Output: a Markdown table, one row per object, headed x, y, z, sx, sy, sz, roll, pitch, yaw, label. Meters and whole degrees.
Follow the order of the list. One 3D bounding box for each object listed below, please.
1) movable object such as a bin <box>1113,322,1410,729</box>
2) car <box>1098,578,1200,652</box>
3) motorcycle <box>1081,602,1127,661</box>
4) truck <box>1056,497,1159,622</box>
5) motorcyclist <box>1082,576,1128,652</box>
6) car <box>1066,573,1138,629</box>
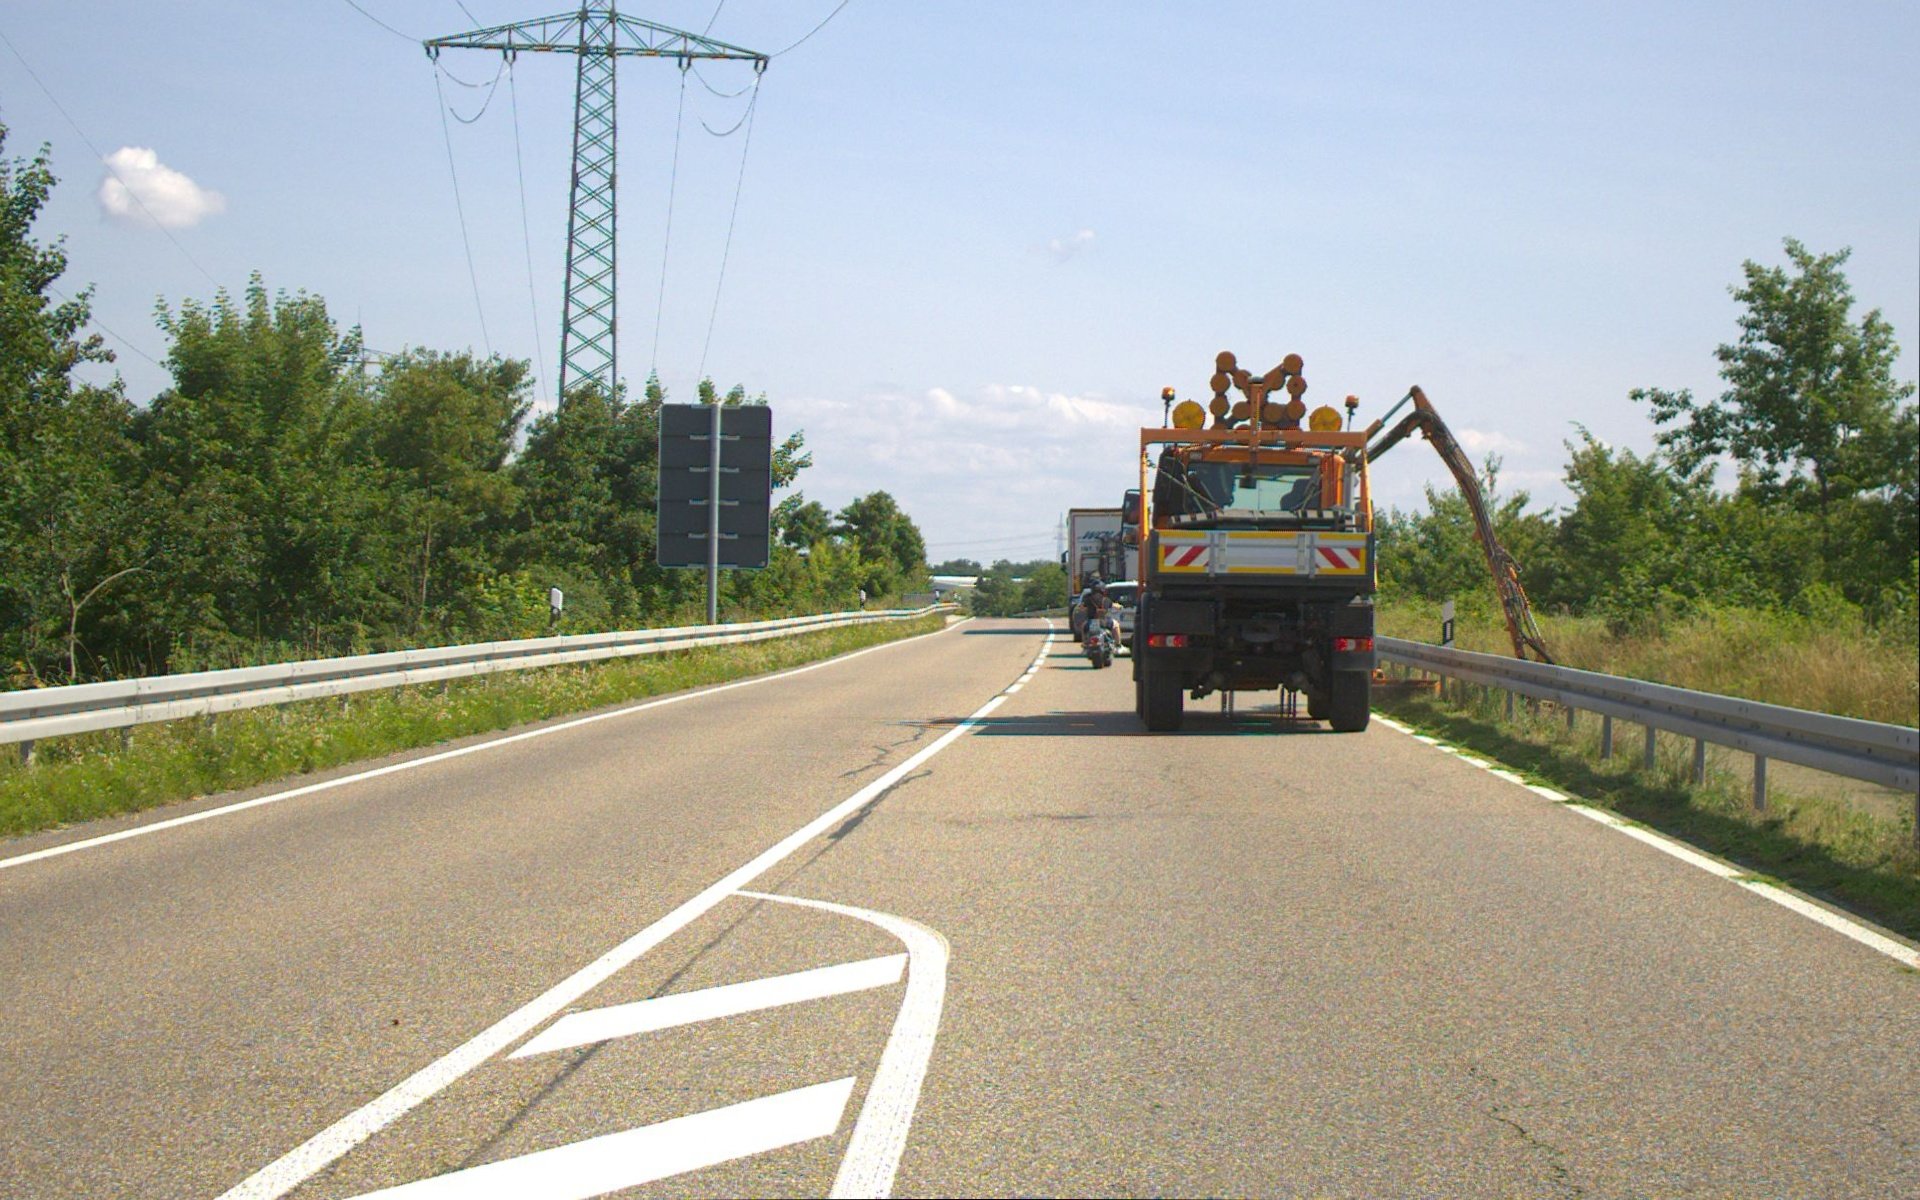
| x | y | z | sx | sy | sz | roll | pitch | yaw | label |
| --- | --- | --- | --- | --- | --- | --- | --- | --- | --- |
| 3.108 | -0.765 | 37.246 | 2.753 | 3.826 | 9.444 | 1 | 1 | 3 | movable object such as a bin |
| 3.962 | 0.288 | 71.581 | 1.826 | 1.446 | 3.999 | 1 | 1 | 7 | car |
| 2.548 | 0.547 | 60.766 | 0.780 | 0.972 | 2.361 | 1 | 1 | 3 | motorcycle |
| 4.950 | -1.309 | 114.849 | 3.242 | 3.965 | 9.442 | 1 | 0 | 3 | truck |
| 2.563 | 0.243 | 60.783 | 0.780 | 1.321 | 0.813 | 1 | 1 | 3 | motorcyclist |
| 3.779 | 0.018 | 91.474 | 1.866 | 1.415 | 4.000 | 1 | 1 | 2 | car |
